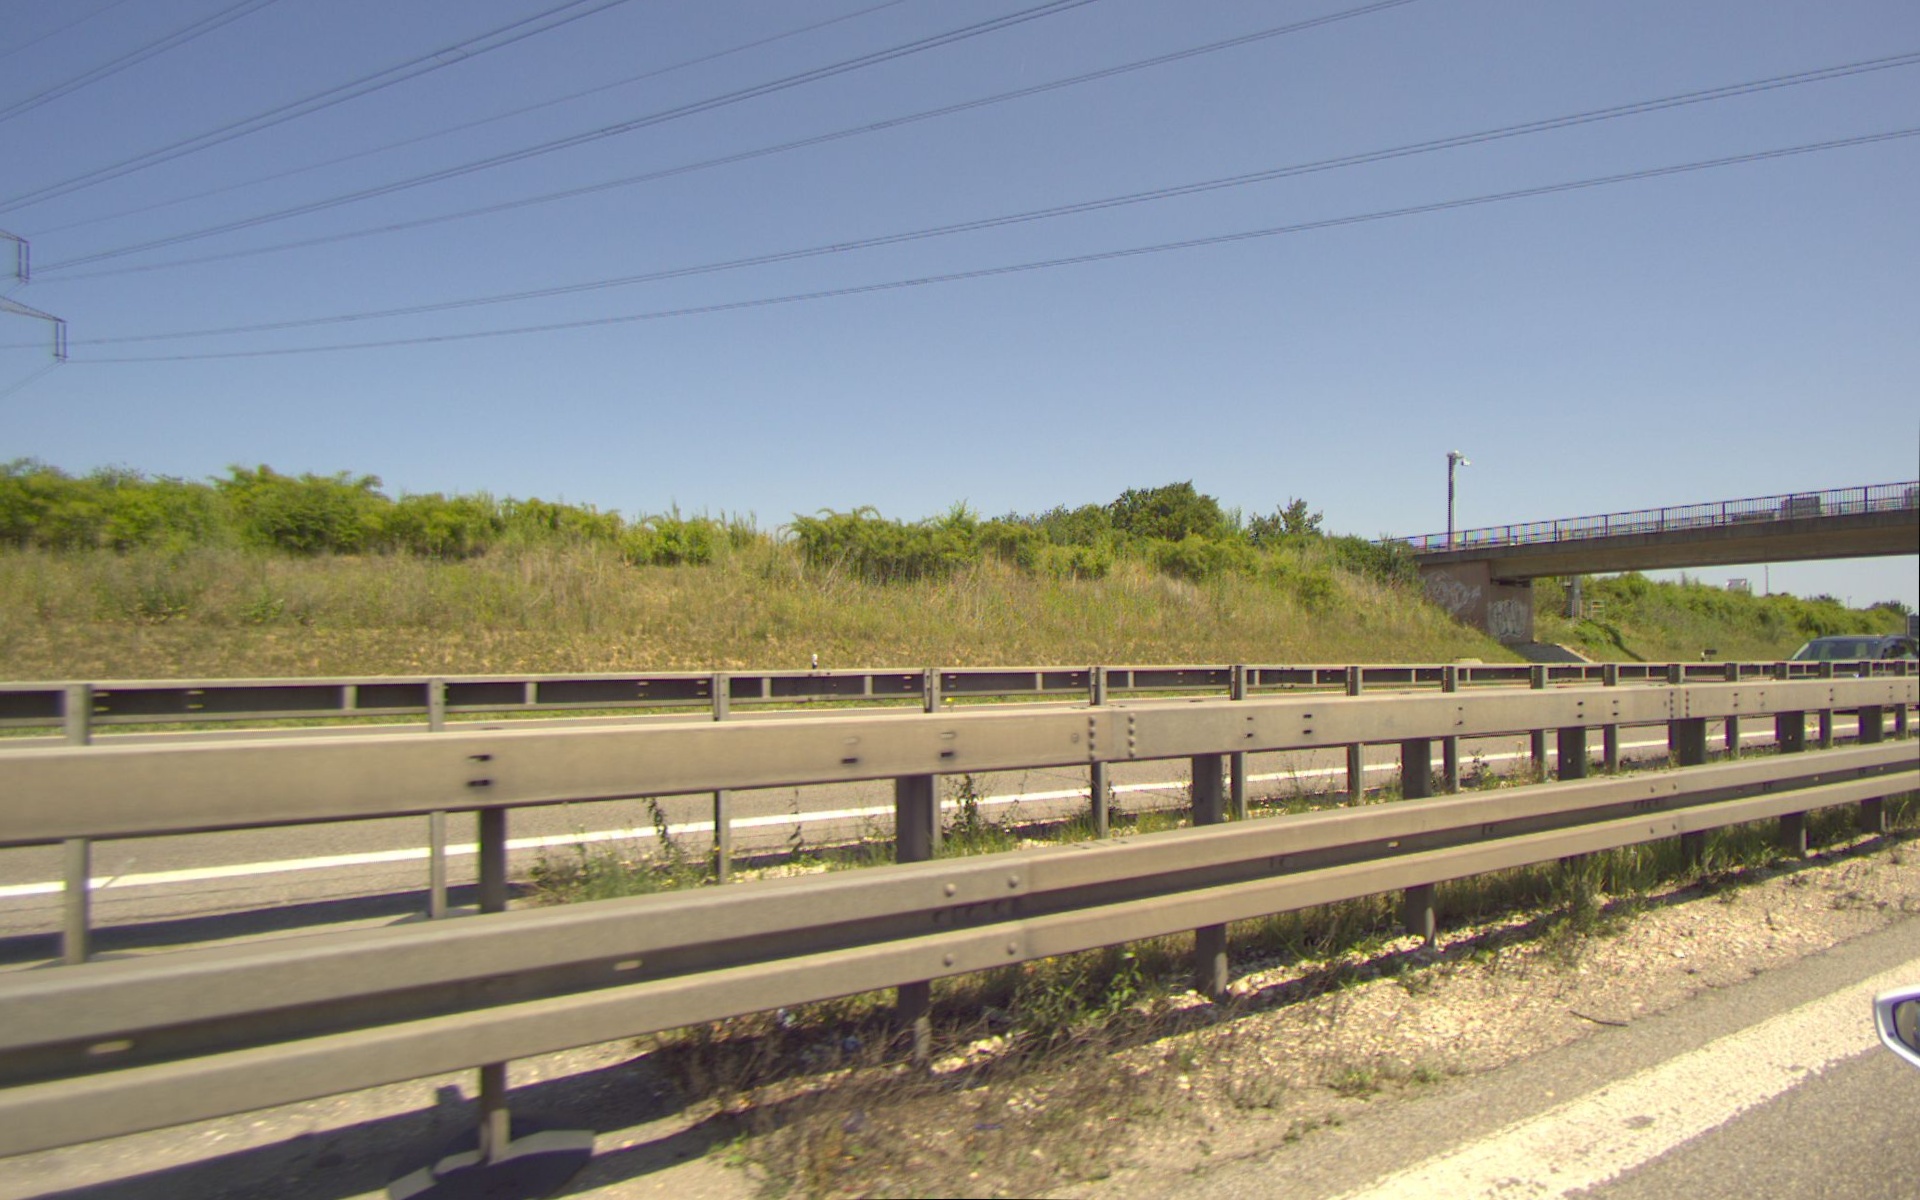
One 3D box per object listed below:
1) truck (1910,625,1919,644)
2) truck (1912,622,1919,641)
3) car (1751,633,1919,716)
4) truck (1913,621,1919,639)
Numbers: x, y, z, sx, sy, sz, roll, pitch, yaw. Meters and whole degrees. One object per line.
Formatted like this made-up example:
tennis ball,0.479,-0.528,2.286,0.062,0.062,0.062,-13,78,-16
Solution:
truck,173.316,6.198,173.020,14.168,3.181,2.662,1,0,17
truck,167.443,5.360,166.611,14.168,3.181,2.662,1,0,17
car,19.217,1.561,21.876,3.953,1.621,1.830,1,-1,-30
truck,176.165,5.506,175.620,14.168,3.181,2.662,1,0,17
